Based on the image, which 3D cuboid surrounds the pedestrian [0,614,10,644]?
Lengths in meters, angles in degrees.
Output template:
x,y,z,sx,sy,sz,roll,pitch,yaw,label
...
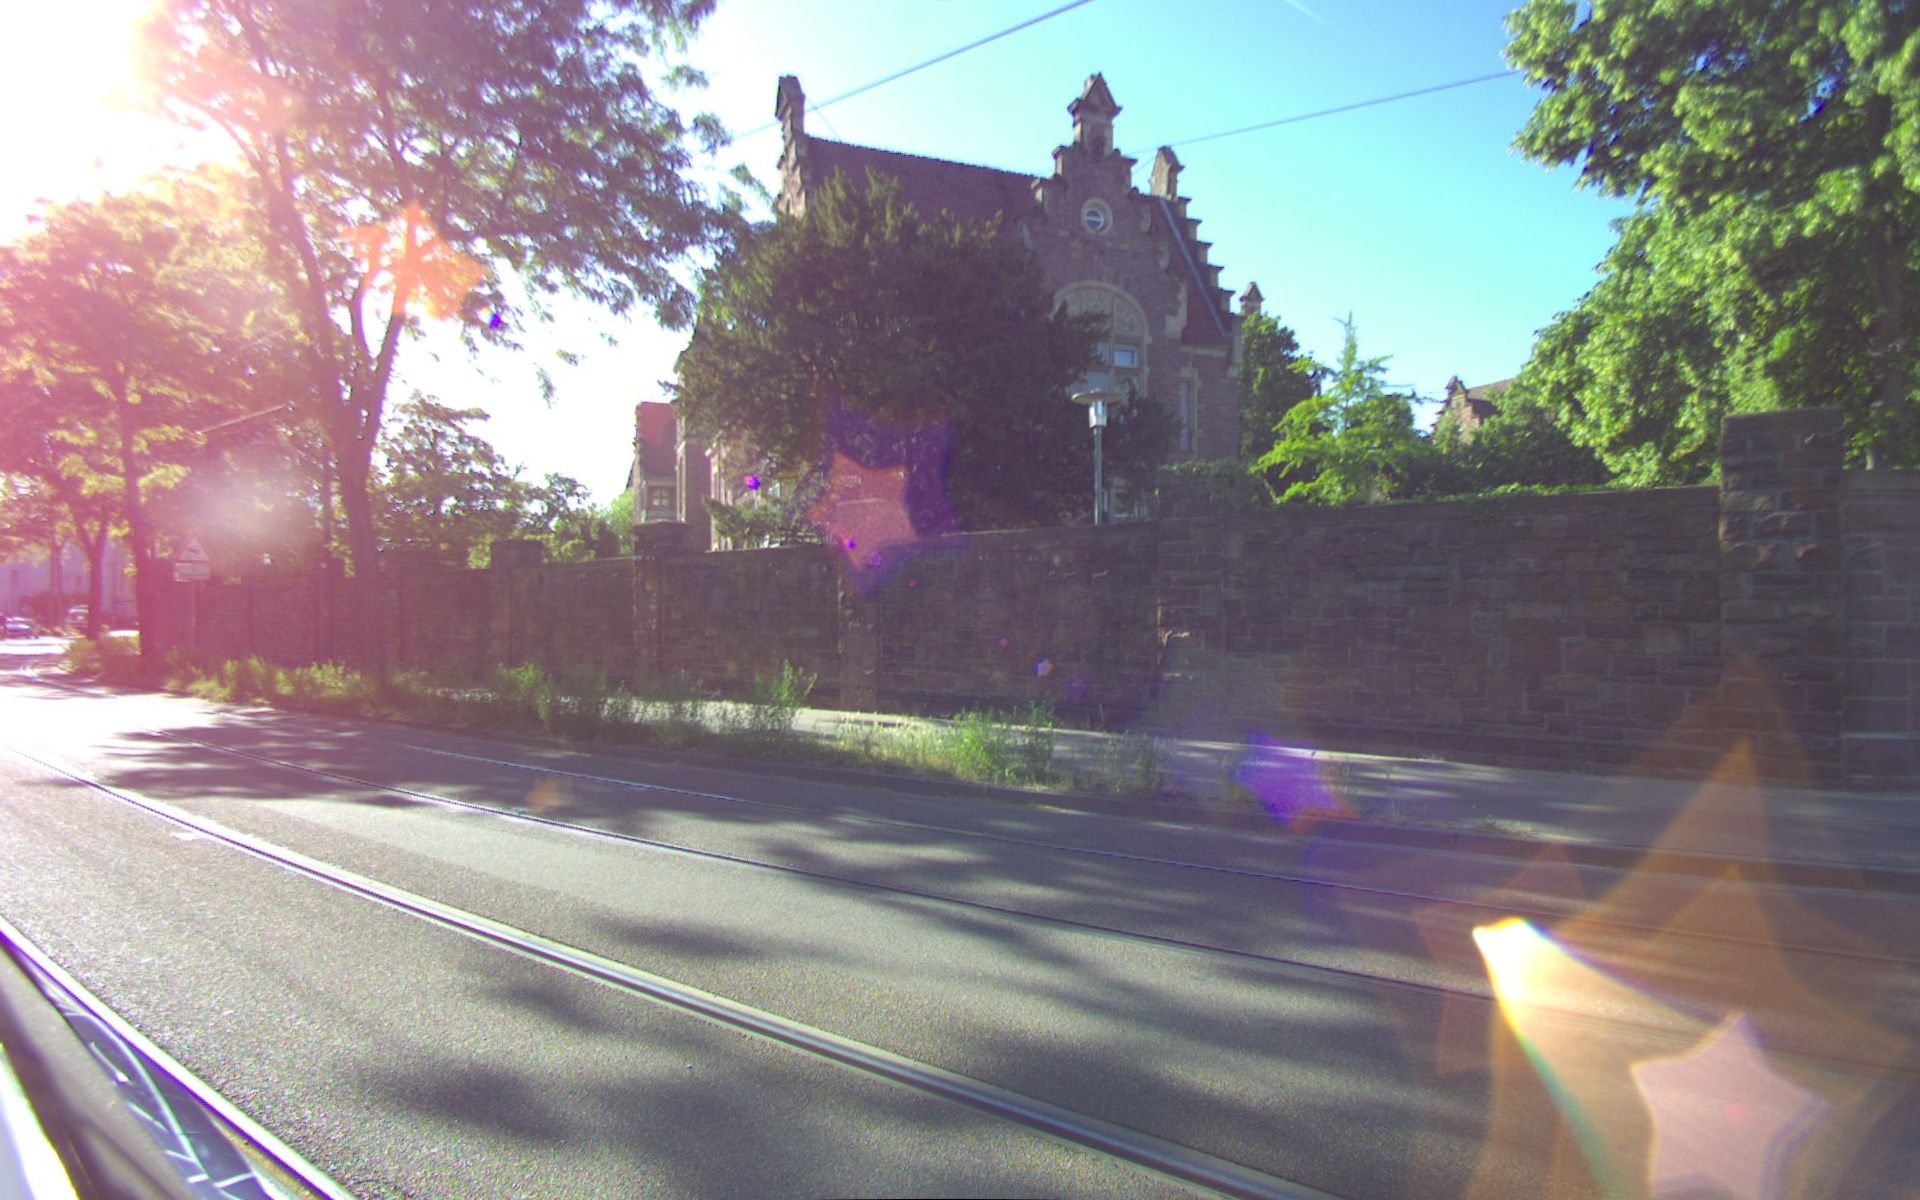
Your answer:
x,y,z,sx,sy,sz,roll,pitch,yaw,label
-58.427,1.792,61.669,0.625,1.821,0.675,0,-1,-27,pedestrian
